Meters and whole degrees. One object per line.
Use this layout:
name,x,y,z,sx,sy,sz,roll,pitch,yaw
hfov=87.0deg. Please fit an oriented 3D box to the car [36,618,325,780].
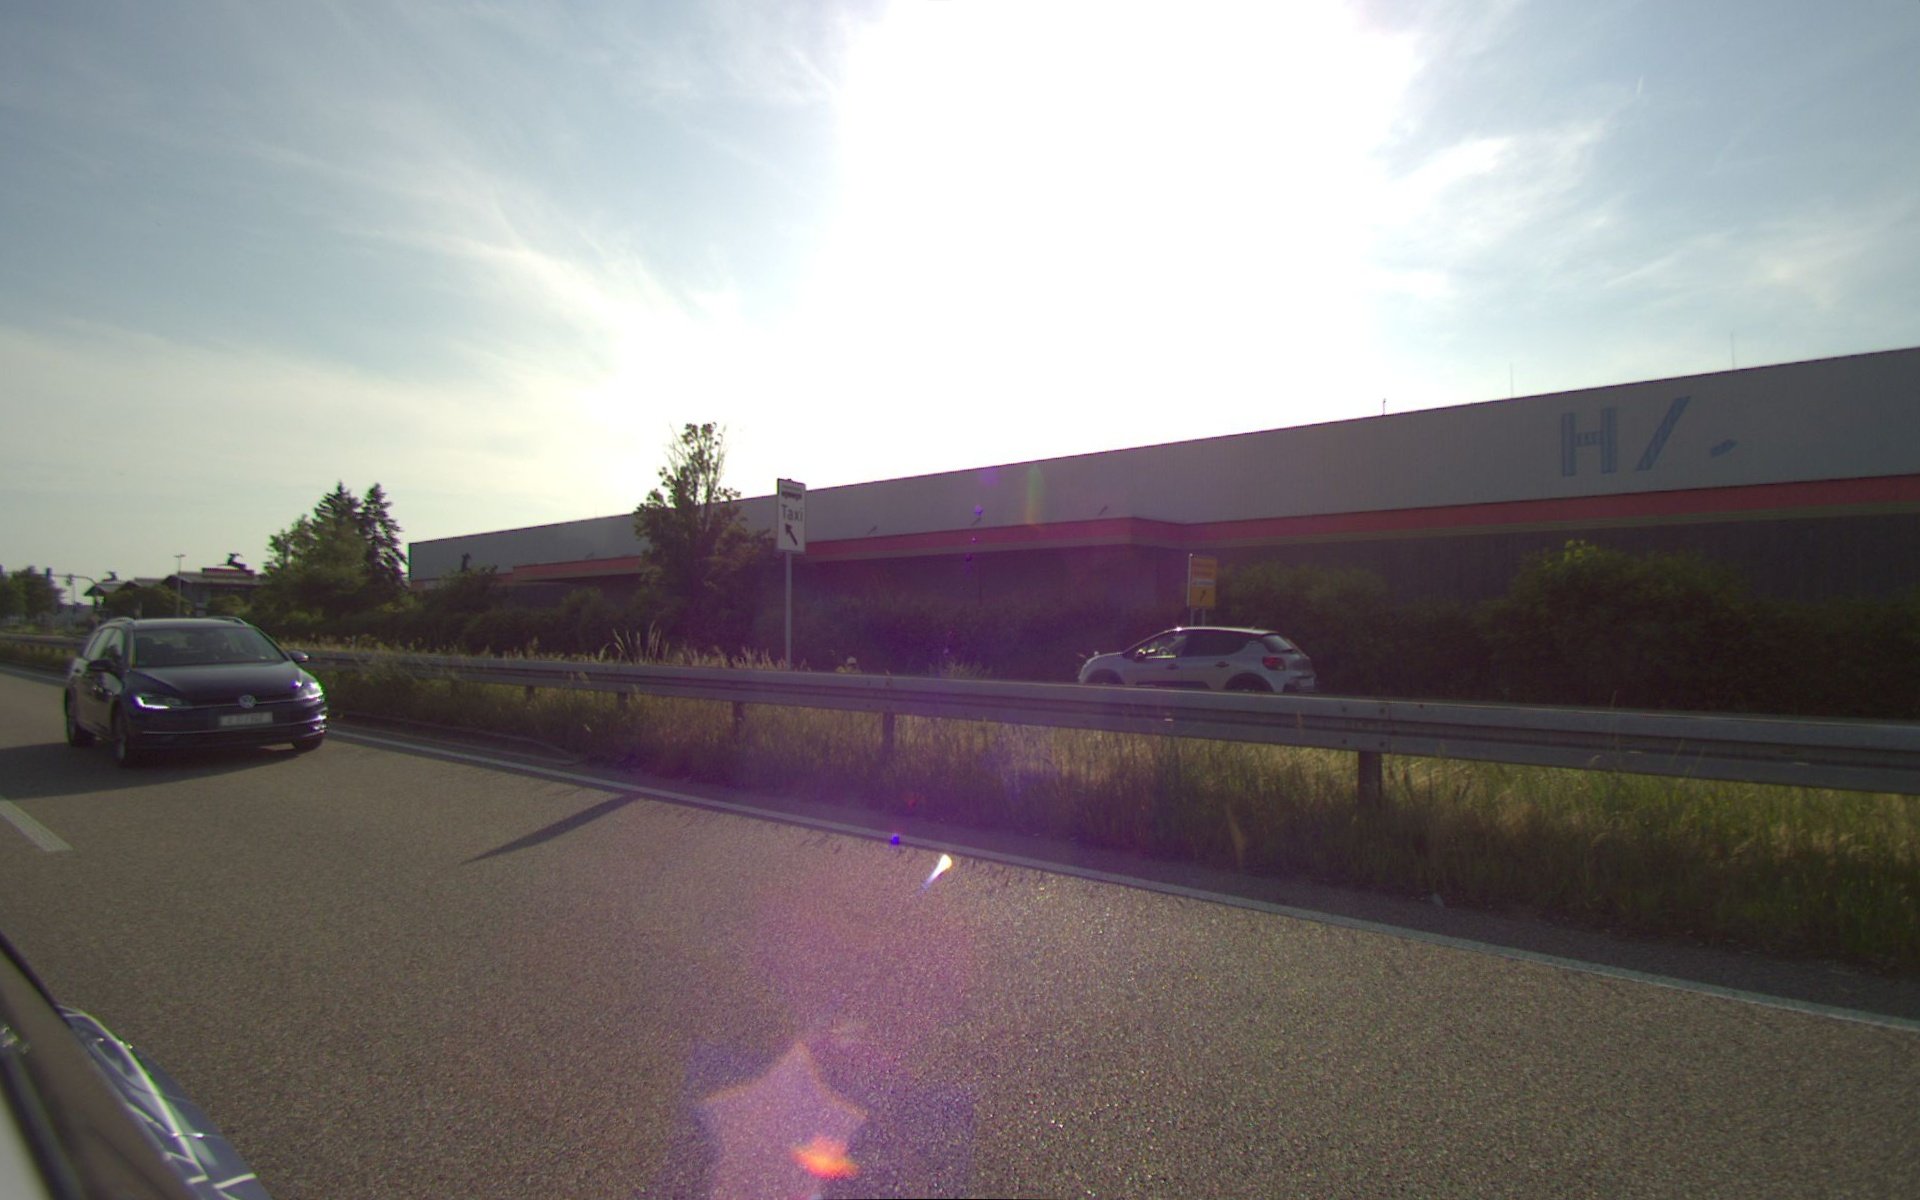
car,-8.958,0.956,11.457,4.773,1.482,1.629,-1,-2,40

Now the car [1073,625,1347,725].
car,3.987,1.127,16.522,3.997,1.435,1.761,-1,-2,41
